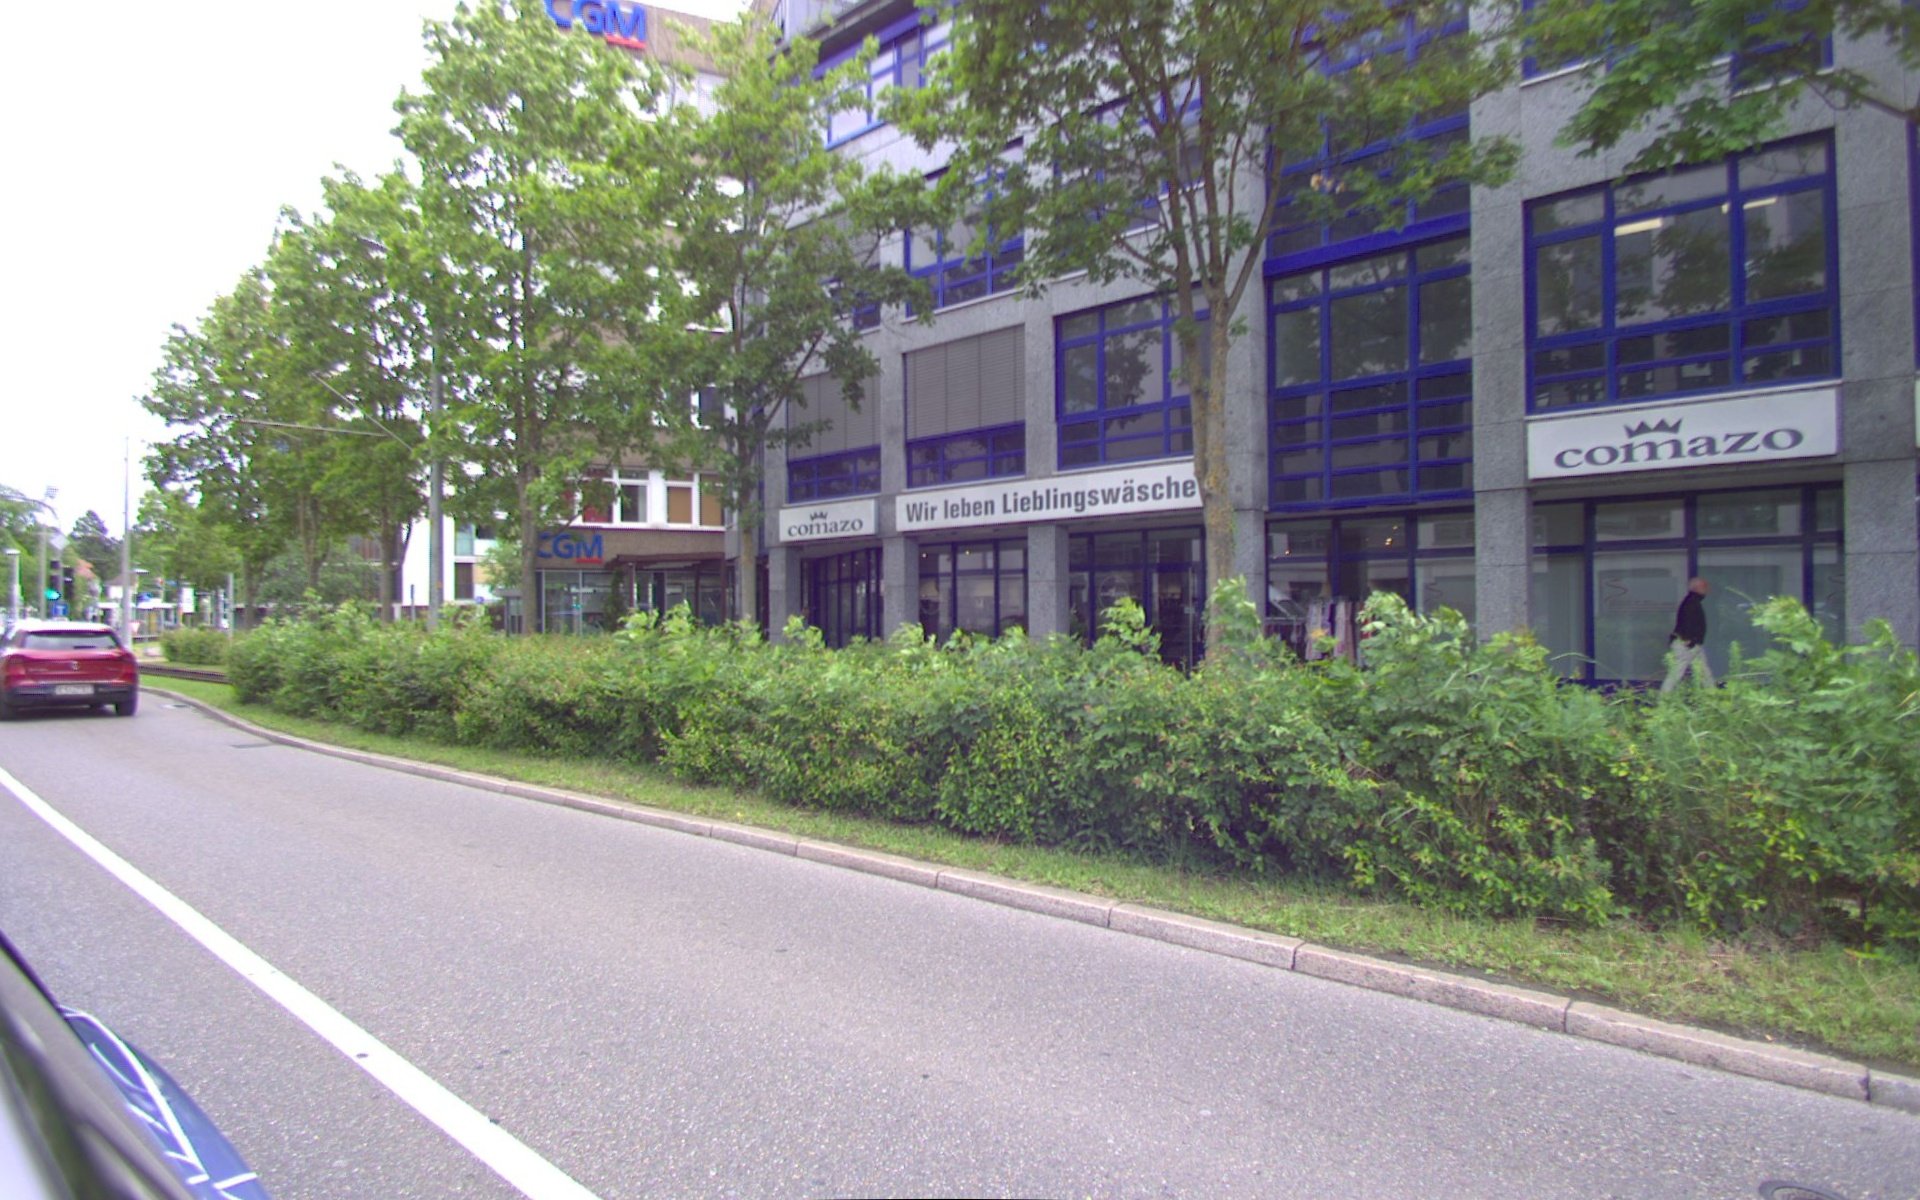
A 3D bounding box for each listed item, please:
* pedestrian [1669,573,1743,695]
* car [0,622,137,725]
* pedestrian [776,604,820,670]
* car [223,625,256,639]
[{"bbox_3d":[9.498,0.413,12.880,0.679,1.493,0.690,-2,0,41],"label":"pedestrian"},{"bbox_3d":[-15.934,1.204,17.667,4.133,1.601,1.732,-2,-3,41],"label":"car"},{"bbox_3d":[-3.795,0.866,23.736,0.677,1.493,0.692,-2,0,31],"label":"pedestrian"},{"bbox_3d":[-109.503,4.864,153.887,1.974,1.913,3.996,-1,0,3],"label":"car"}]
